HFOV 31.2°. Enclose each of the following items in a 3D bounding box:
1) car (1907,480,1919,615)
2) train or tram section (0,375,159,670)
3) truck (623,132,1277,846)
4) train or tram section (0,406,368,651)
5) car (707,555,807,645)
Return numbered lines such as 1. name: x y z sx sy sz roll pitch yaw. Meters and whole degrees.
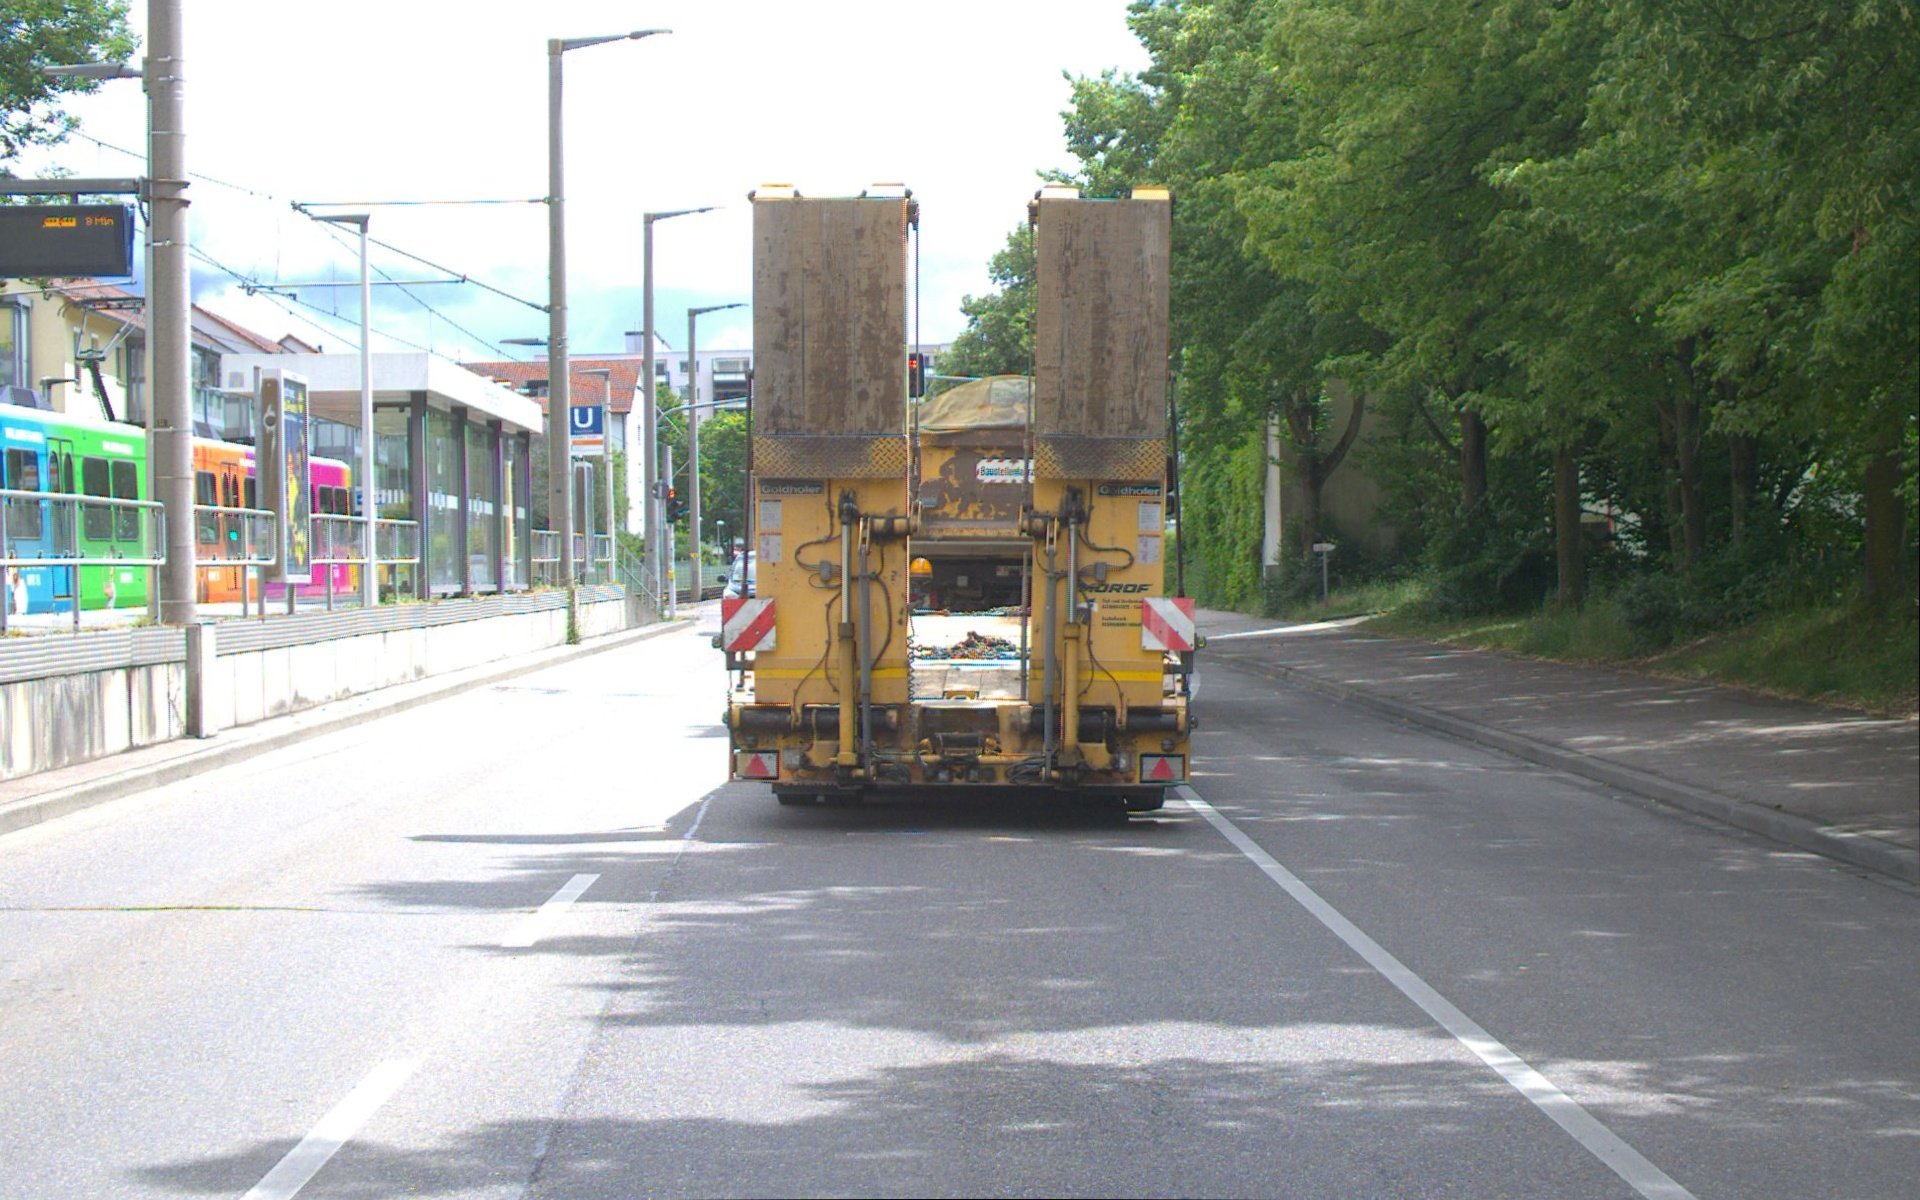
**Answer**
1. car: 11.559 -0.628 36.613 1.715 1.502 4.160 -4 0 0
2. train or tram section: -12.769 -0.919 39.122 3.108 3.453 19.199 1 1 -1
3. truck: -0.433 -0.669 24.953 3.402 3.719 13.740 -1 1 -3
4. train or tram section: -13.099 -1.119 58.301 3.108 3.453 19.090 1 1 -1
5. car: -3.928 -0.021 67.098 1.720 1.676 4.387 1 1 -1
